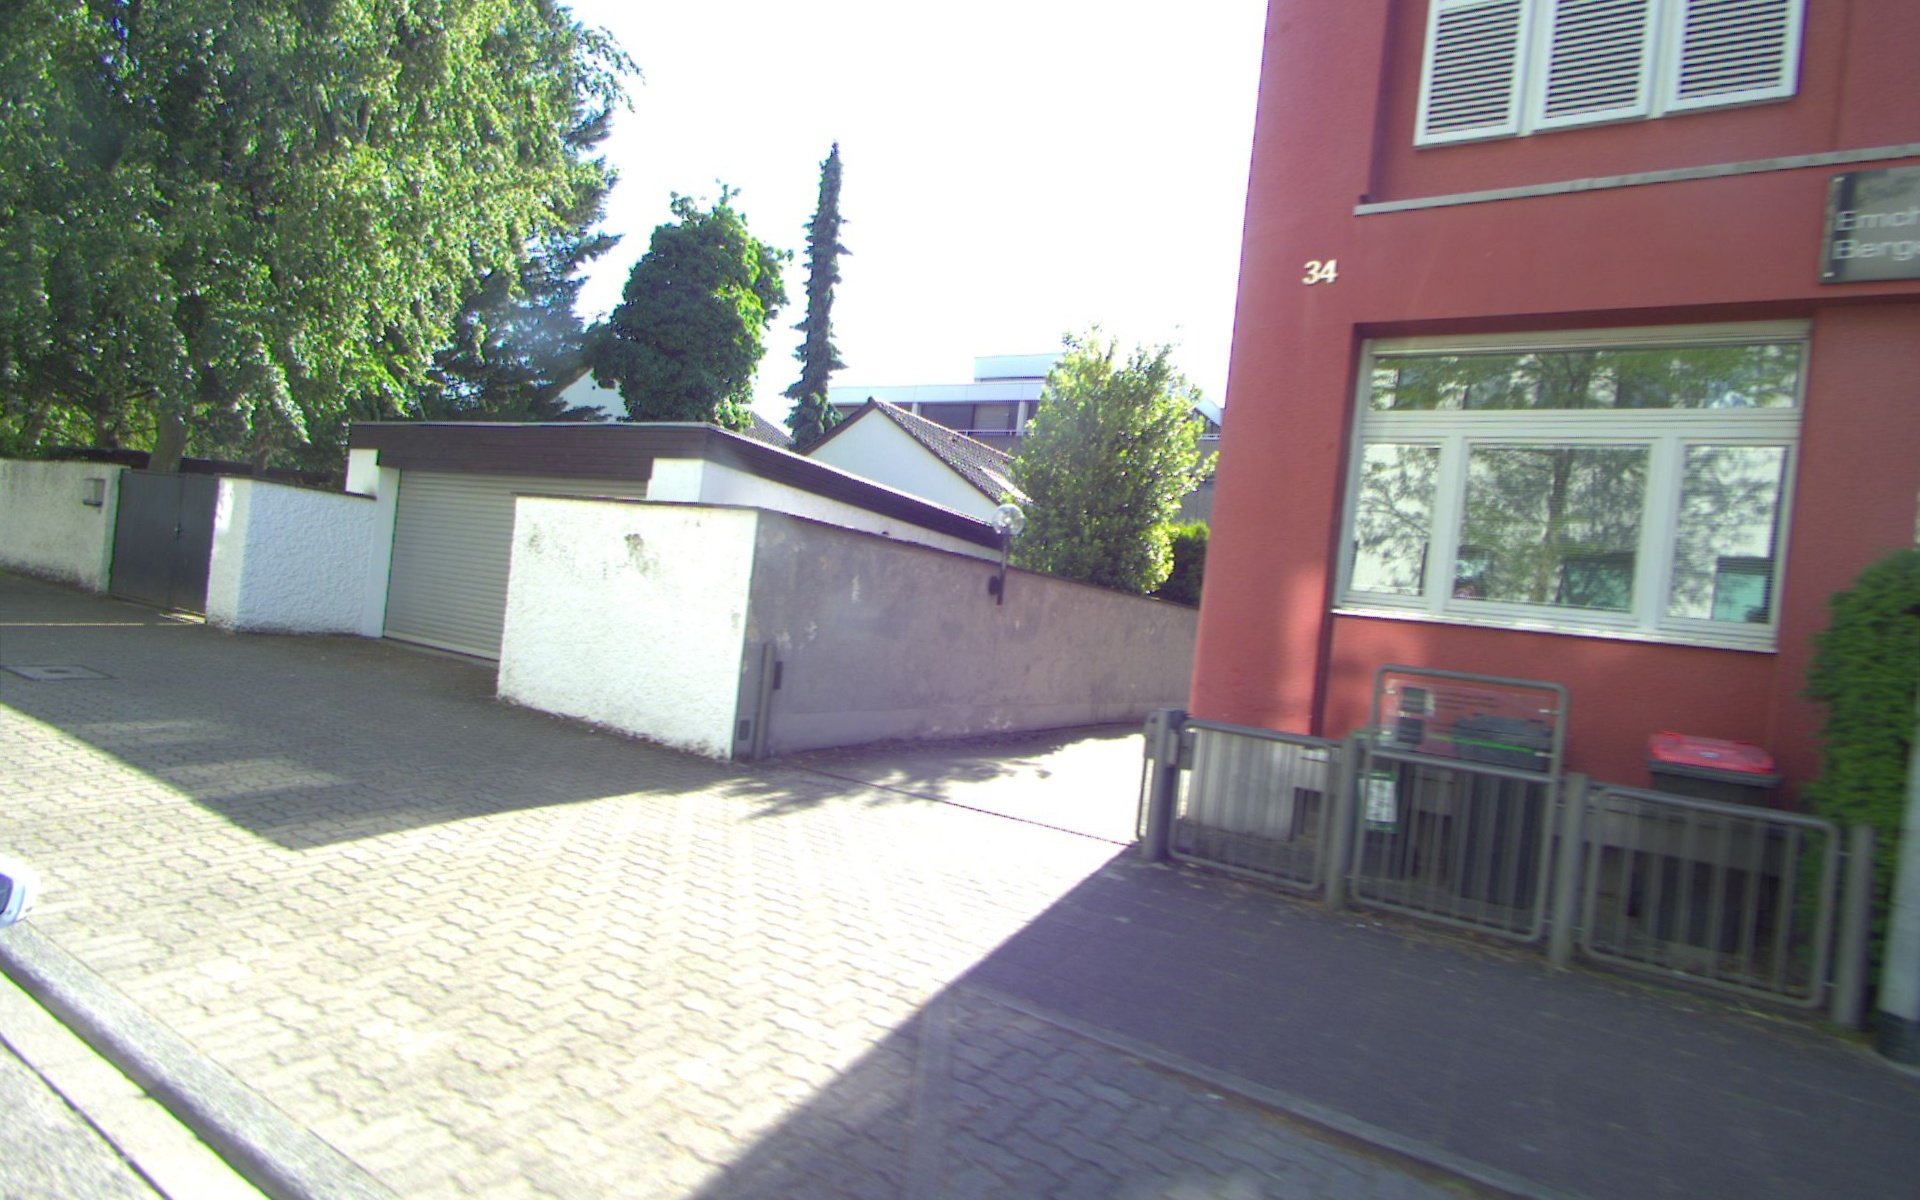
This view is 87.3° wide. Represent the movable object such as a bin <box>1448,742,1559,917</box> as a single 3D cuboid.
[{"bbox_3d":[3.273,1.351,6.050,0.467,0.911,0.477,7,-1,33],"label":"movable object such as a bin"}]

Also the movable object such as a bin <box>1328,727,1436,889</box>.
[{"bbox_3d":[2.697,1.300,6.422,0.467,0.911,0.477,7,-1,33],"label":"movable object such as a bin"}]

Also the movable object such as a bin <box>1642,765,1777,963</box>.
[{"bbox_3d":[4.041,1.398,5.455,0.467,0.911,0.477,7,-1,33],"label":"movable object such as a bin"}]
